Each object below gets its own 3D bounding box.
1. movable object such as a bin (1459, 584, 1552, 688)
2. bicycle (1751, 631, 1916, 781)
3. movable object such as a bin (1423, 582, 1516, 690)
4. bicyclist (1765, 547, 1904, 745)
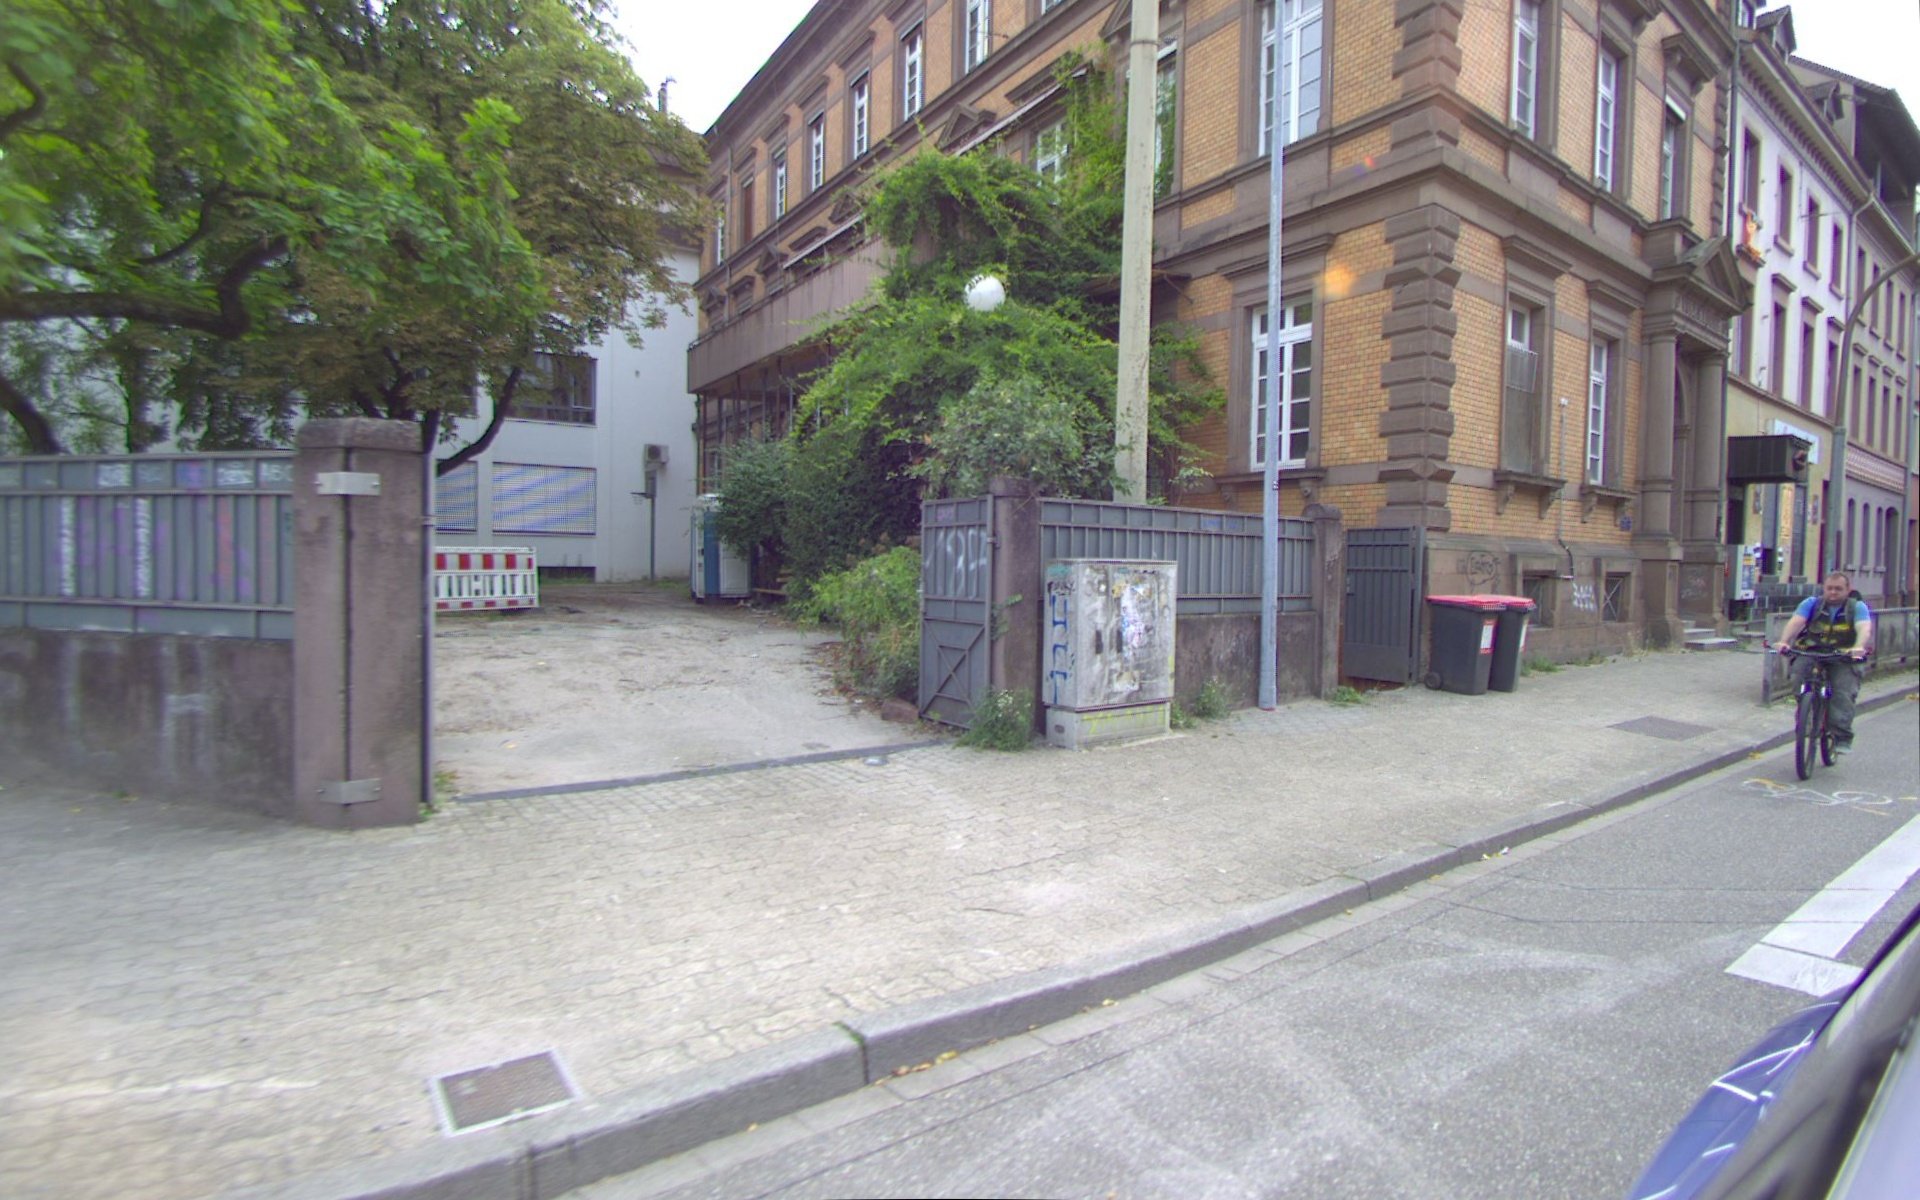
[{"bbox_3d":[6.316,0.395,11.728,0.689,1.095,0.665,-2,7,-41],"label":"movable object such as a bin"},{"bbox_3d":[7.248,0.815,8.373,1.768,1.031,0.714,-1,1,-39],"label":"bicycle"},{"bbox_3d":[5.718,0.384,11.357,0.666,1.095,0.652,-2,6,-41],"label":"movable object such as a bin"},{"bbox_3d":[7.209,0.347,8.342,0.902,1.526,0.715,0,0,-39],"label":"bicyclist"}]
